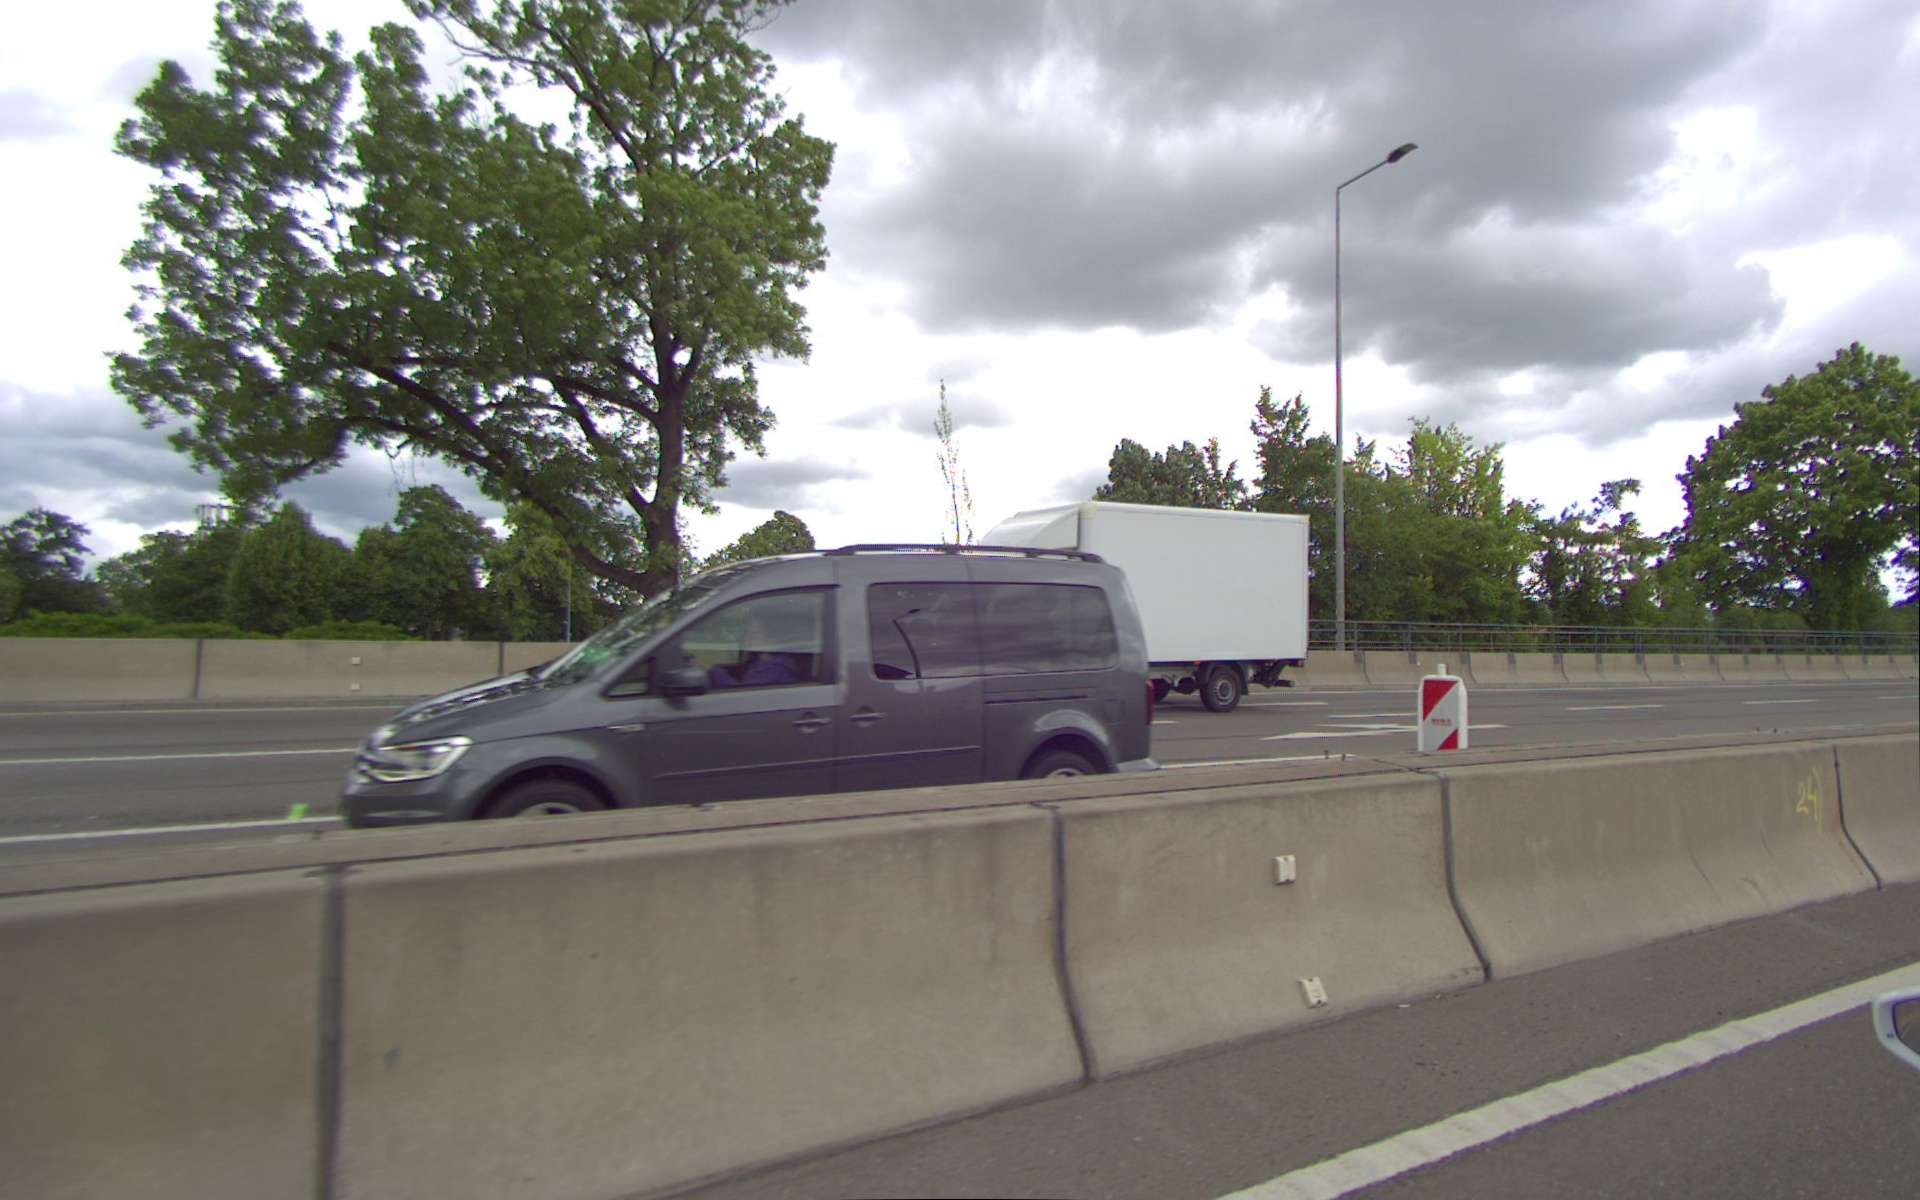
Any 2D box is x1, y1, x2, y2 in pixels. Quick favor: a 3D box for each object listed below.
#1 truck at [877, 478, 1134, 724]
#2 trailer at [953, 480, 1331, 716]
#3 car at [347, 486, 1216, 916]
[{"bbox_3d":[0.624,0.057,14.614,2.950,3.155,2.263,2,0,-28],"label":"truck"},{"bbox_3d":[2.932,0.065,15.871,5.640,3.179,2.263,2,0,-28],"label":"trailer"},{"bbox_3d":[-0.891,0.517,6.304,4.894,1.829,1.894,2,-2,-29],"label":"car"}]
